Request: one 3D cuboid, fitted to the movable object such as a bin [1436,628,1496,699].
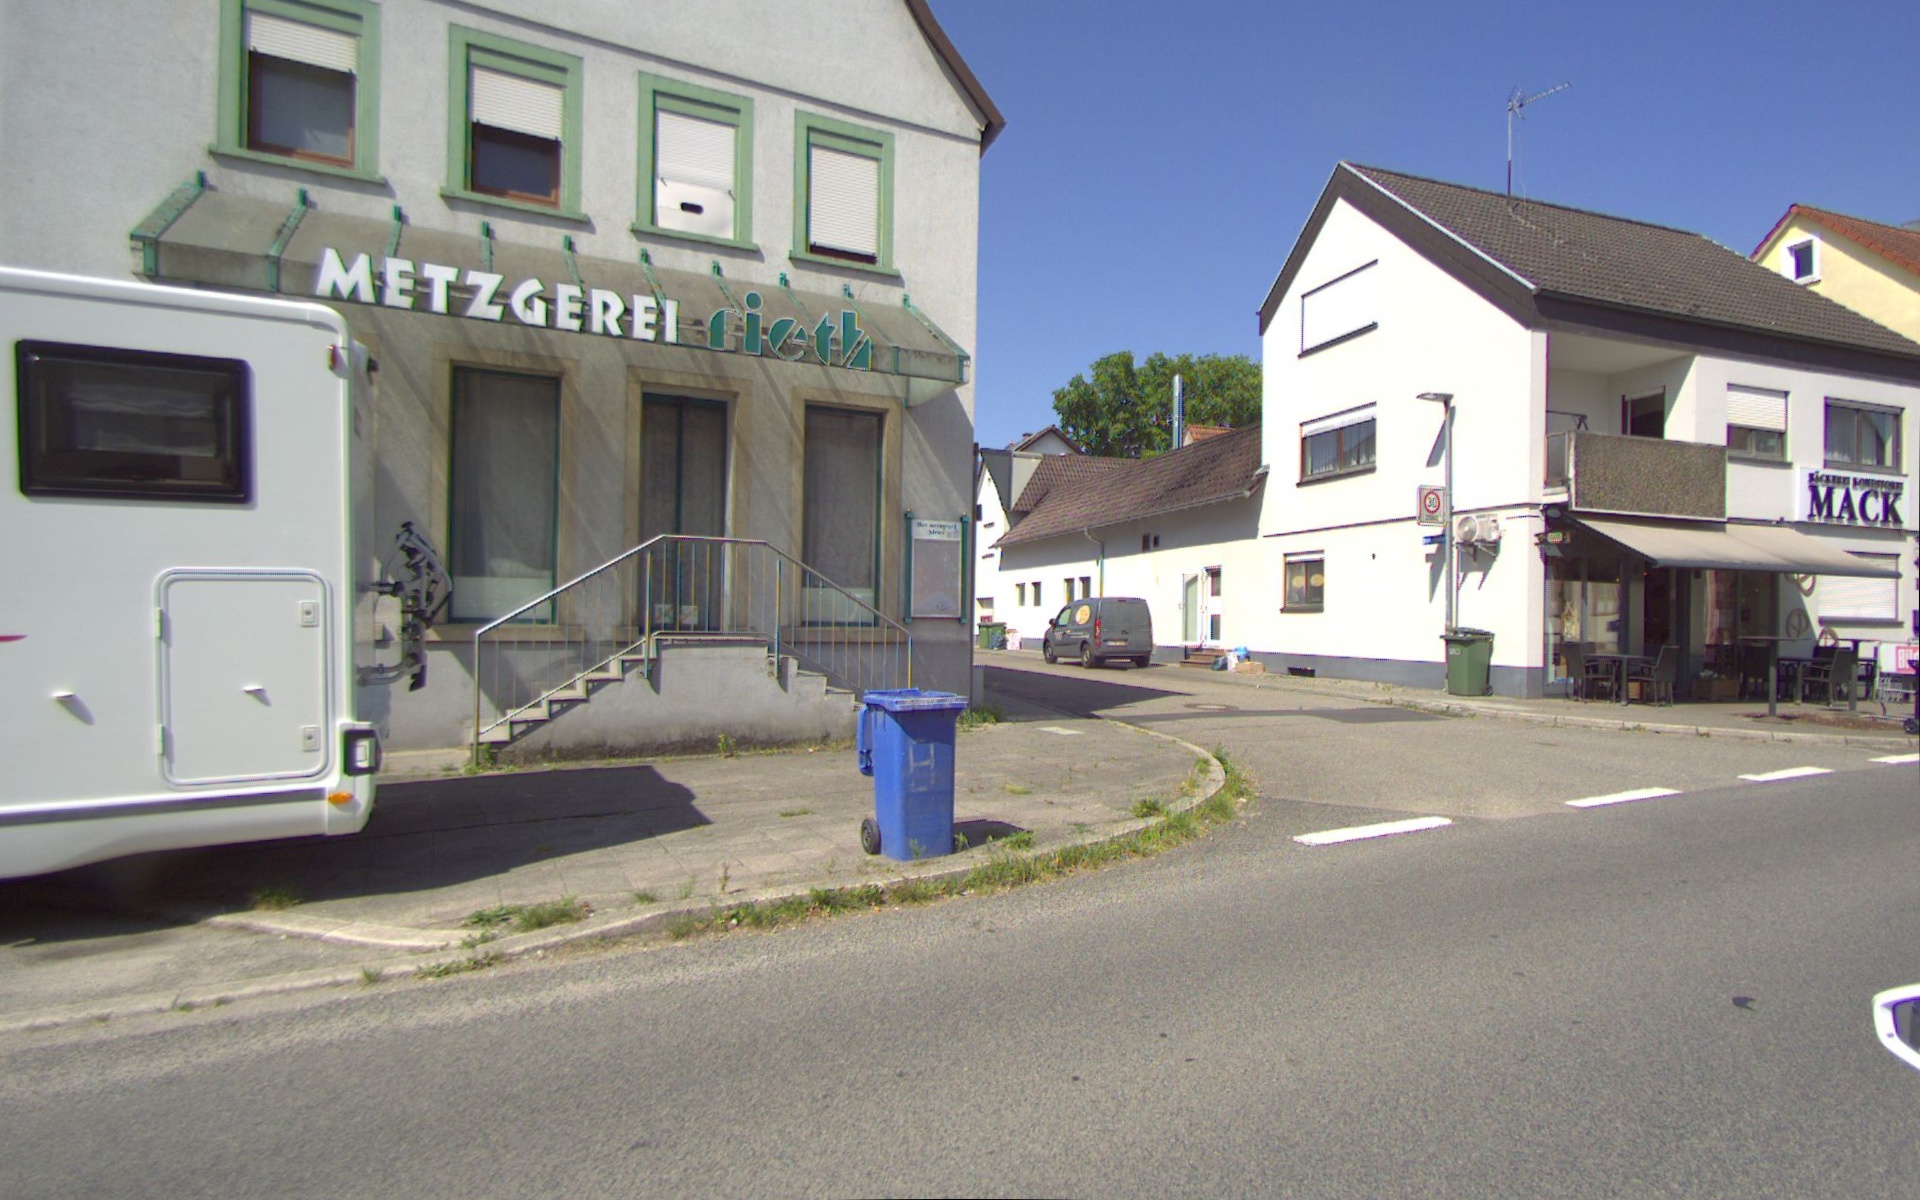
[{"bbox_3d":[8.528,1.057,16.945,0.634,1.153,0.672,1,-1,-18],"label":"movable object such as a bin"}]

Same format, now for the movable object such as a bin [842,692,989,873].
[{"bbox_3d":[-0.262,0.998,5.704,0.606,0.883,0.640,1,-1,-30],"label":"movable object such as a bin"}]

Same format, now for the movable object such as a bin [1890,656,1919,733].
[{"bbox_3d":[12.230,1.188,12.623,0.606,0.936,0.640,1,-1,-30],"label":"movable object such as a bin"}]

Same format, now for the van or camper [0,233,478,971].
[{"bbox_3d":[-5.958,-0.014,4.209,6.981,2.943,2.435,1,-1,-29],"label":"van or camper"}]

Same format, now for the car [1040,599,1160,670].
[{"bbox_3d":[3.686,0.894,27.094,1.843,1.782,3.751,1,-1,-16],"label":"car"}]
